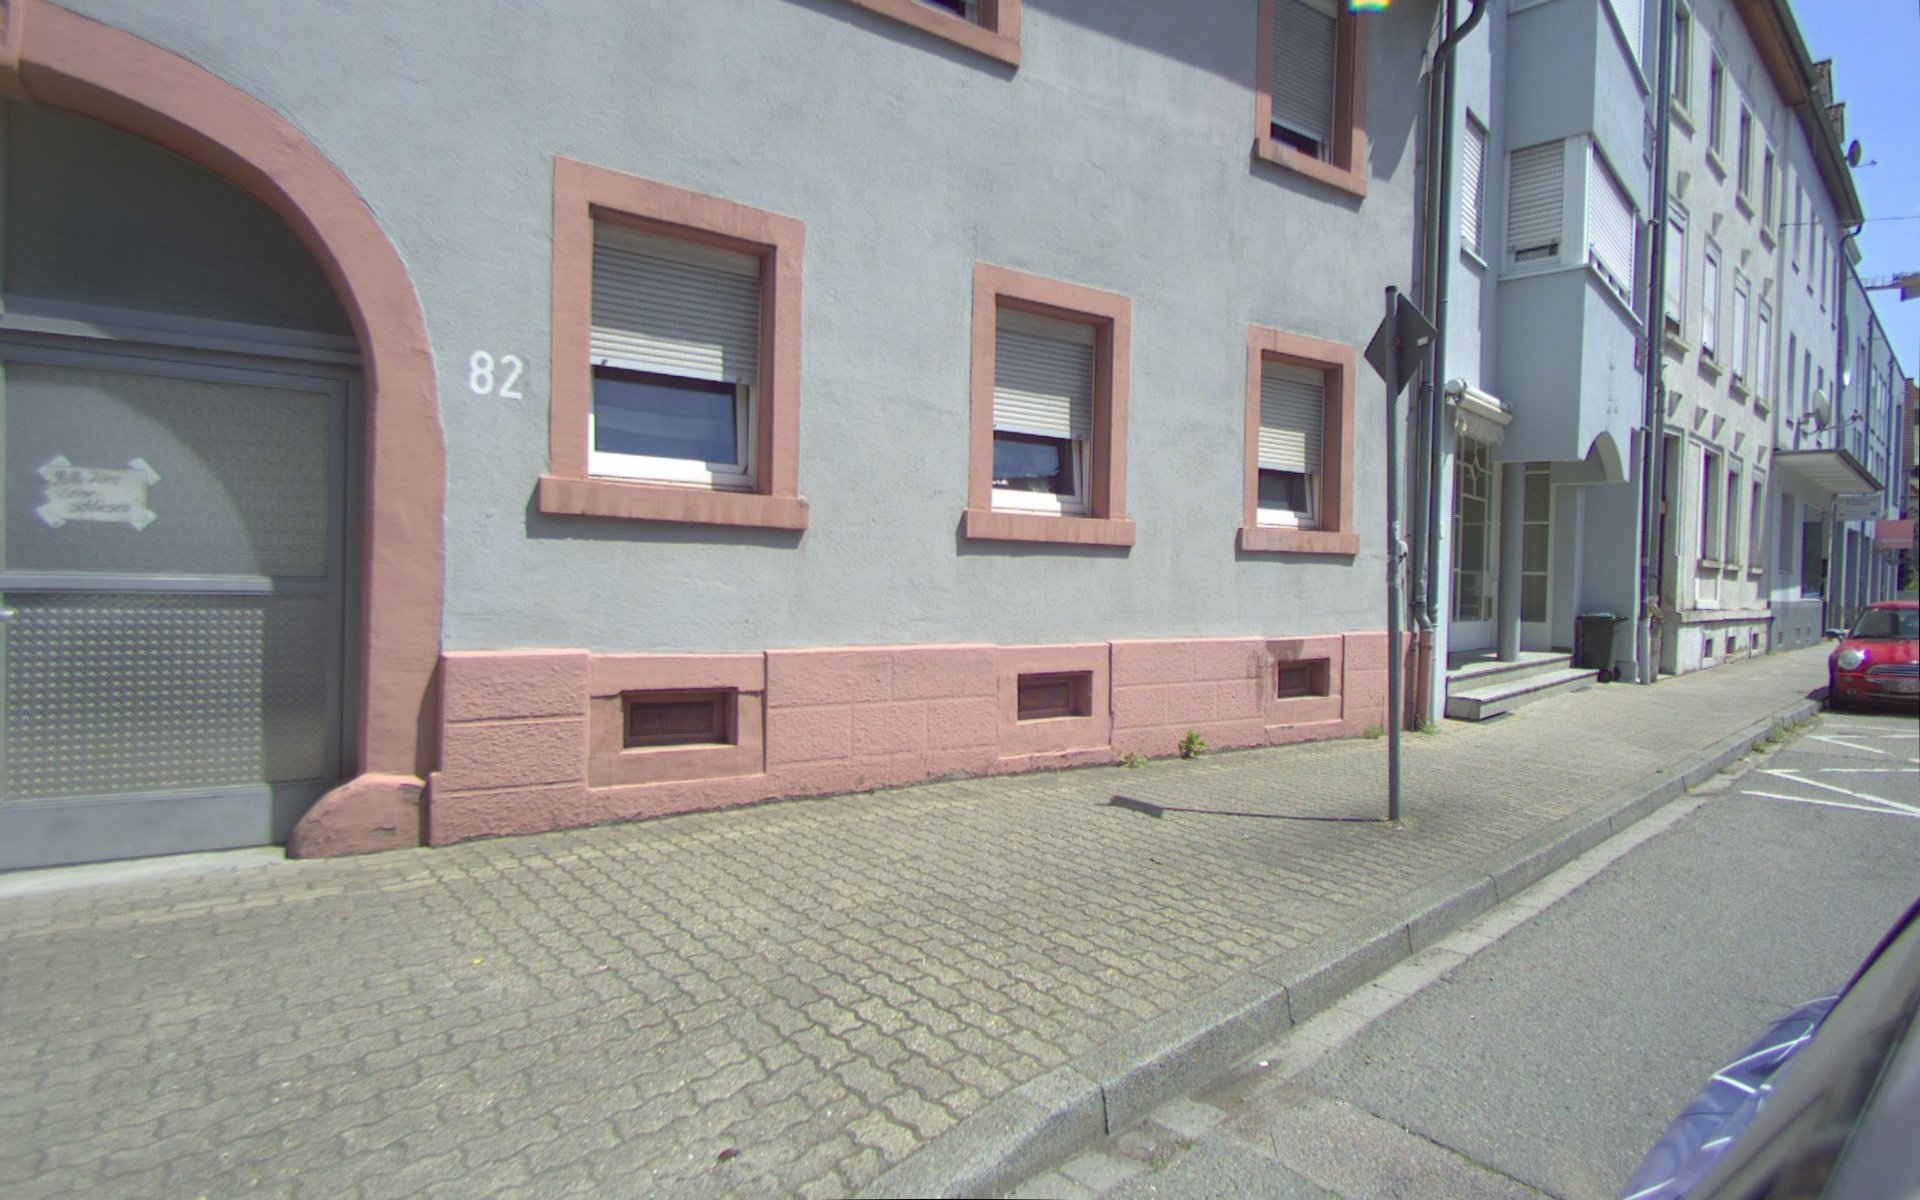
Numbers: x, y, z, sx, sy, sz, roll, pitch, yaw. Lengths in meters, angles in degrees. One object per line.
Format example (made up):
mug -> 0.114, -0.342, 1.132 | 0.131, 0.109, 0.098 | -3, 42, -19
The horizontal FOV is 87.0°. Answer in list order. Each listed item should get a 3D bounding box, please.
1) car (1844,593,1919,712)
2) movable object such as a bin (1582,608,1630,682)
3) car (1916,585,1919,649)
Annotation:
car -> 12.786, 0.635, 13.207 | 3.481, 1.403, 1.620 | 0, 2, -45
movable object such as a bin -> 8.866, 0.606, 13.884 | 0.472, 0.946, 0.481 | 3, 2, 40
car -> 24.905, 0.428, 24.935 | 3.933, 1.526, 1.712 | 0, 2, -43
